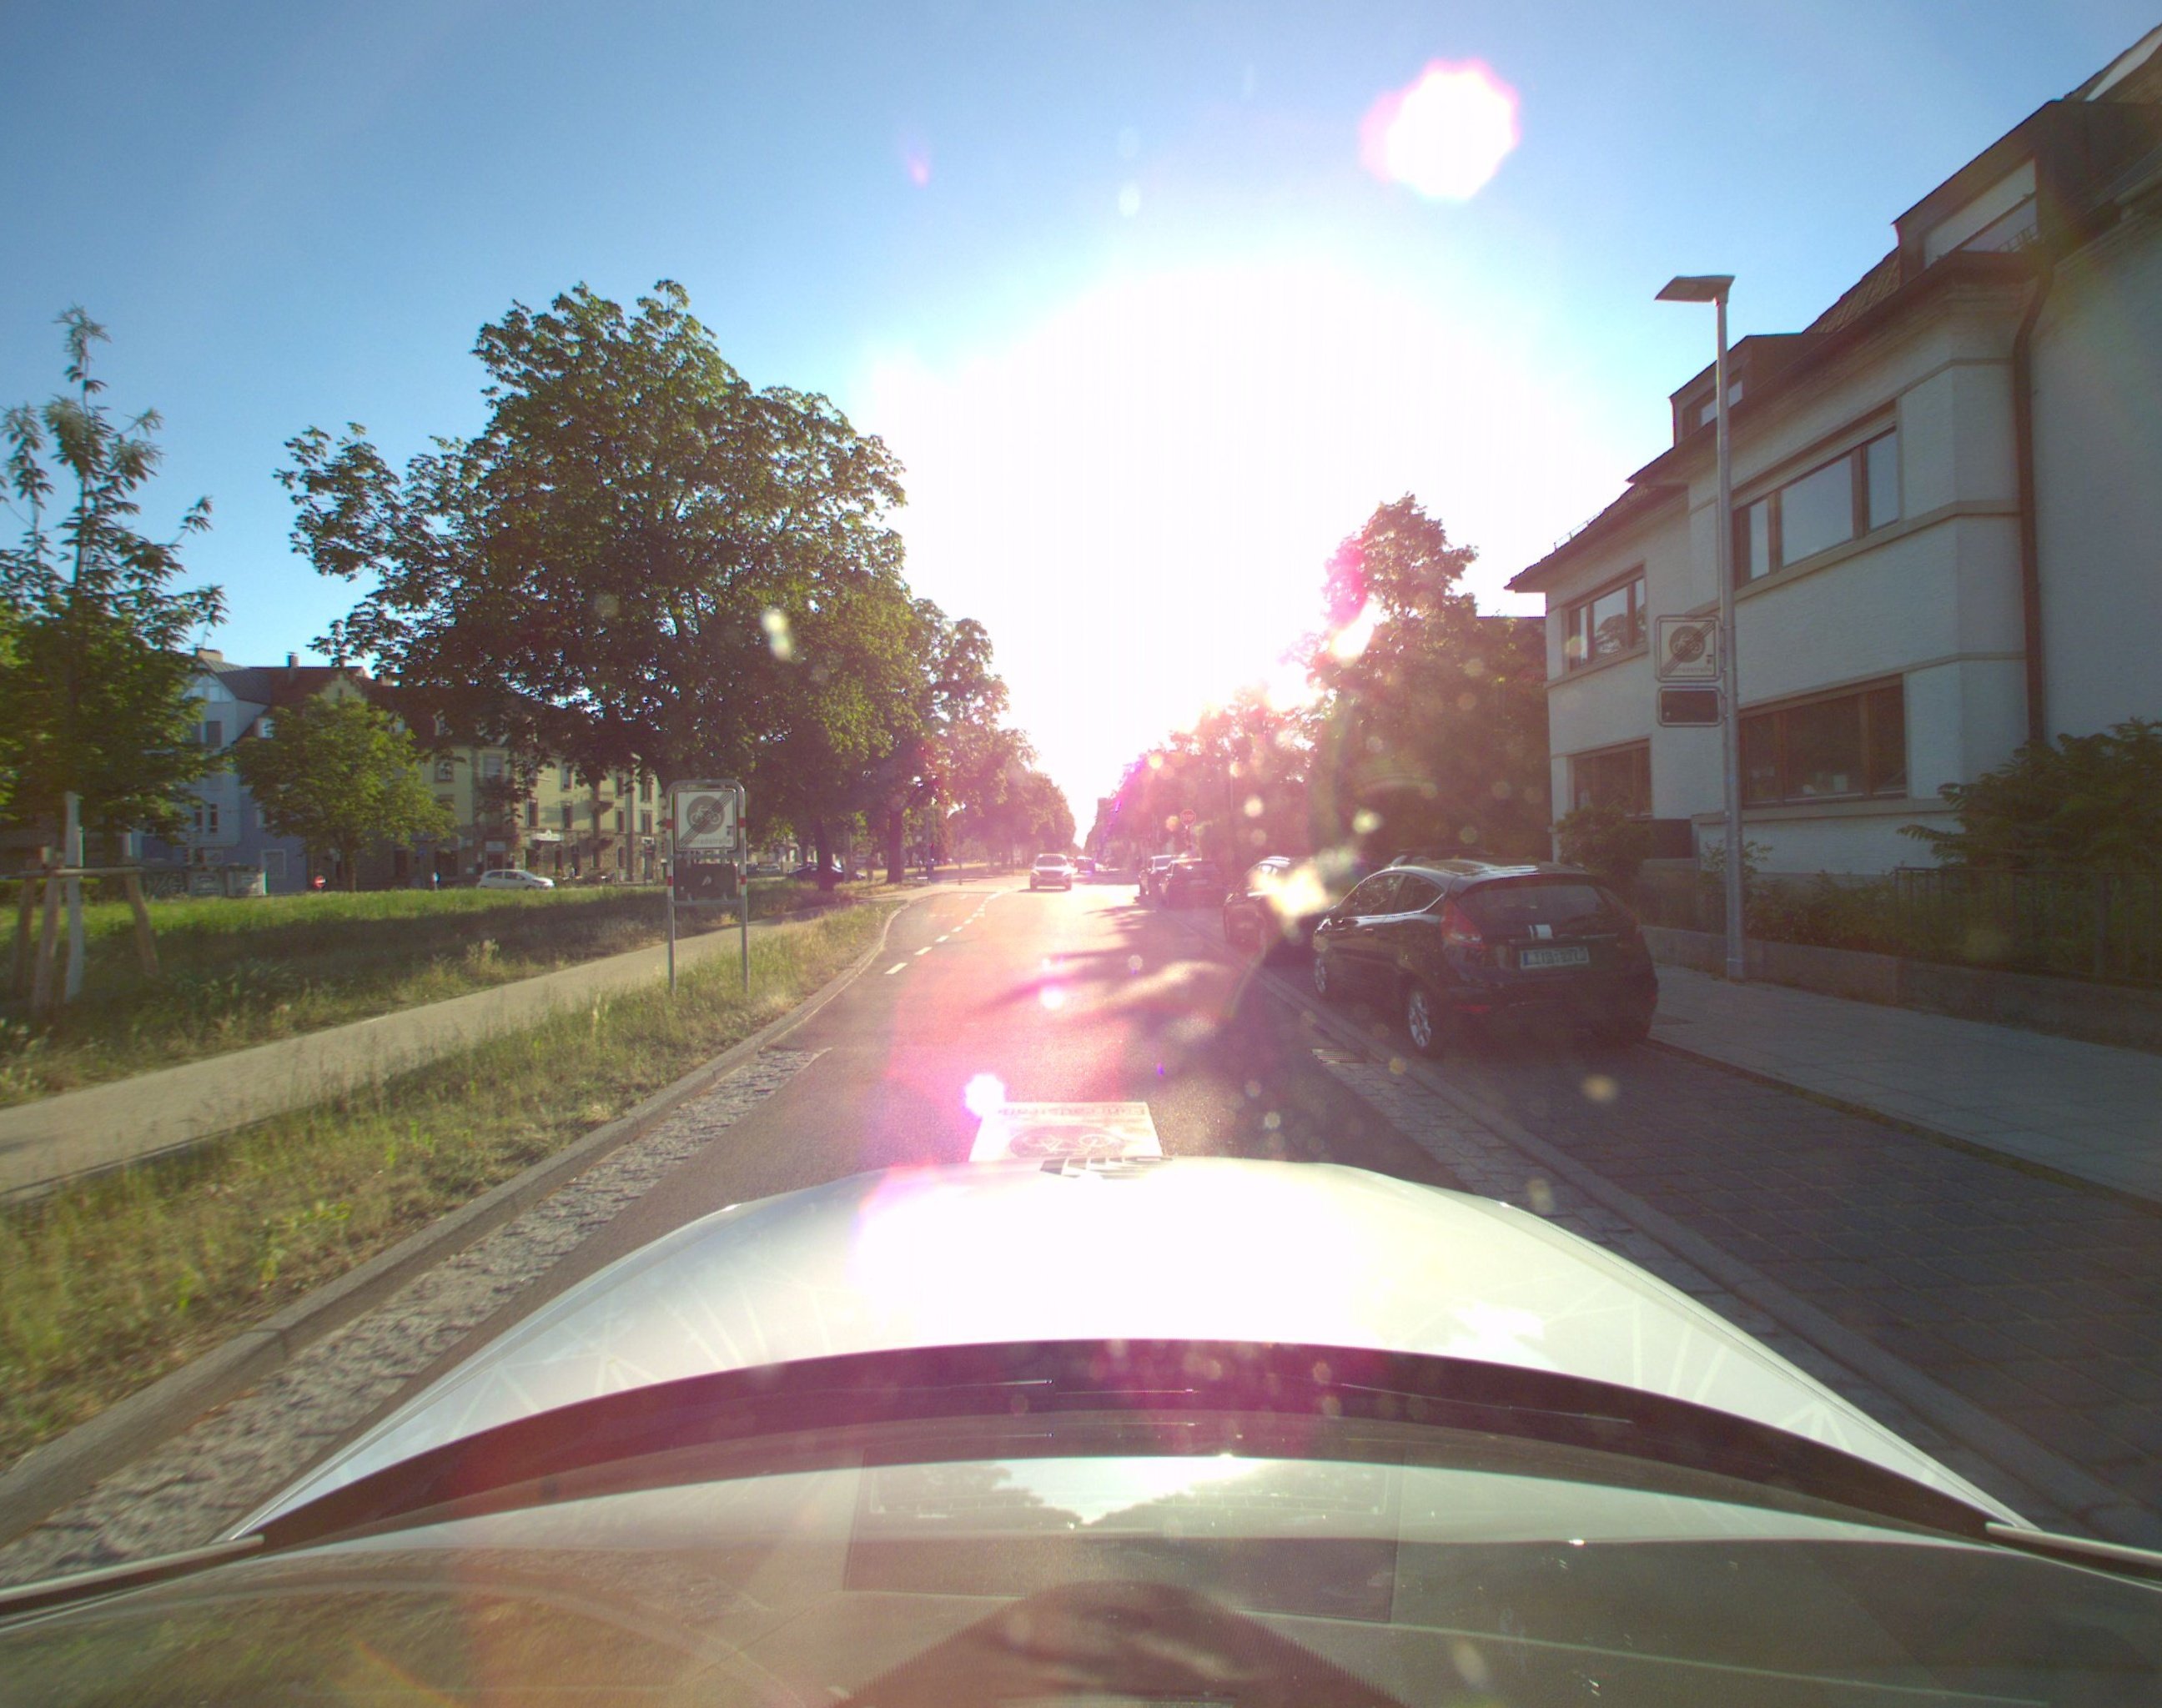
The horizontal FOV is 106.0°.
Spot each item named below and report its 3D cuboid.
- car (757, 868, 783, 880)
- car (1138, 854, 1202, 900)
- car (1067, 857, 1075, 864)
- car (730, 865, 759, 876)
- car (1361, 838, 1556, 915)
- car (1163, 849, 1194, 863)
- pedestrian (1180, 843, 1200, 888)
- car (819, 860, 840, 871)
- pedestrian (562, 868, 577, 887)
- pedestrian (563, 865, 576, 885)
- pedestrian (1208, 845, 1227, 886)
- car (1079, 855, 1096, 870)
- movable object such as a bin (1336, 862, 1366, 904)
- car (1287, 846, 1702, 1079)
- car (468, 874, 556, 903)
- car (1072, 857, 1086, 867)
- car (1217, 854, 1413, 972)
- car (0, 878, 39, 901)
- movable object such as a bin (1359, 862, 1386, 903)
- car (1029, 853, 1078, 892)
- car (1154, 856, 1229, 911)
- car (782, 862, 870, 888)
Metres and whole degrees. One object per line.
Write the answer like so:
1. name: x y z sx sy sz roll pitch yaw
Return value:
1. car: -42.112 2.663 110.326 1.729 1.427 3.799 -1 1 6
2. car: 3.204 0.794 30.269 1.853 1.542 4.873 -1 0 0
3. car: -2.762 1.816 224.778 2.127 2.013 3.902 -1 0 1
4. car: -42.847 2.098 103.872 1.729 1.397 3.799 -1 0 6
5. car: 8.593 0.495 18.760 3.622 1.496 1.781 -3 0 -1
6. car: 12.231 0.248 102.330 3.768 1.525 1.743 -1 1 0
7. pedestrian: 4.580 0.465 34.181 0.669 1.865 0.881 -1 -1 -3
8. car: -36.859 1.668 119.356 1.732 1.427 3.793 -1 1 1
9. pedestrian: -44.673 2.054 71.093 0.808 1.642 0.727 -1 0 8
10. pedestrian: -43.981 1.797 70.024 0.725 1.642 0.811 -1 0 -18
11. pedestrian: 5.706 0.483 34.028 0.667 1.708 0.622 -1 -1 -3
12. car: 0.666 0.812 81.102 1.634 1.451 3.309 -1 0 2
13. movable object such as a bin: 6.928 0.735 20.911 0.507 1.043 0.657 -1 0 -6
14. car: 3.330 0.737 7.548 1.713 1.471 3.982 -4 0 -1
15. car: -32.198 1.925 46.188 3.688 1.488 1.734 -1 0 -12
16. car: -0.236 1.147 115.083 1.839 1.394 3.829 -1 0 1
17. car: 3.346 0.768 12.551 1.741 1.474 4.253 -1 -1 -1
18. car: -77.342 2.557 57.815 4.015 1.592 2.100 -1 -2 2
19. movable object such as a bin: 7.484 0.722 20.912 0.507 1.043 0.416 -1 0 -6
20. car: -1.233 0.820 38.471 1.883 1.676 4.429 -1 0 3
21. car: 3.215 0.814 24.333 1.636 1.427 3.935 -3 0 0
22. car: -15.059 1.208 48.316 4.762 1.434 1.809 -1 0 -9
